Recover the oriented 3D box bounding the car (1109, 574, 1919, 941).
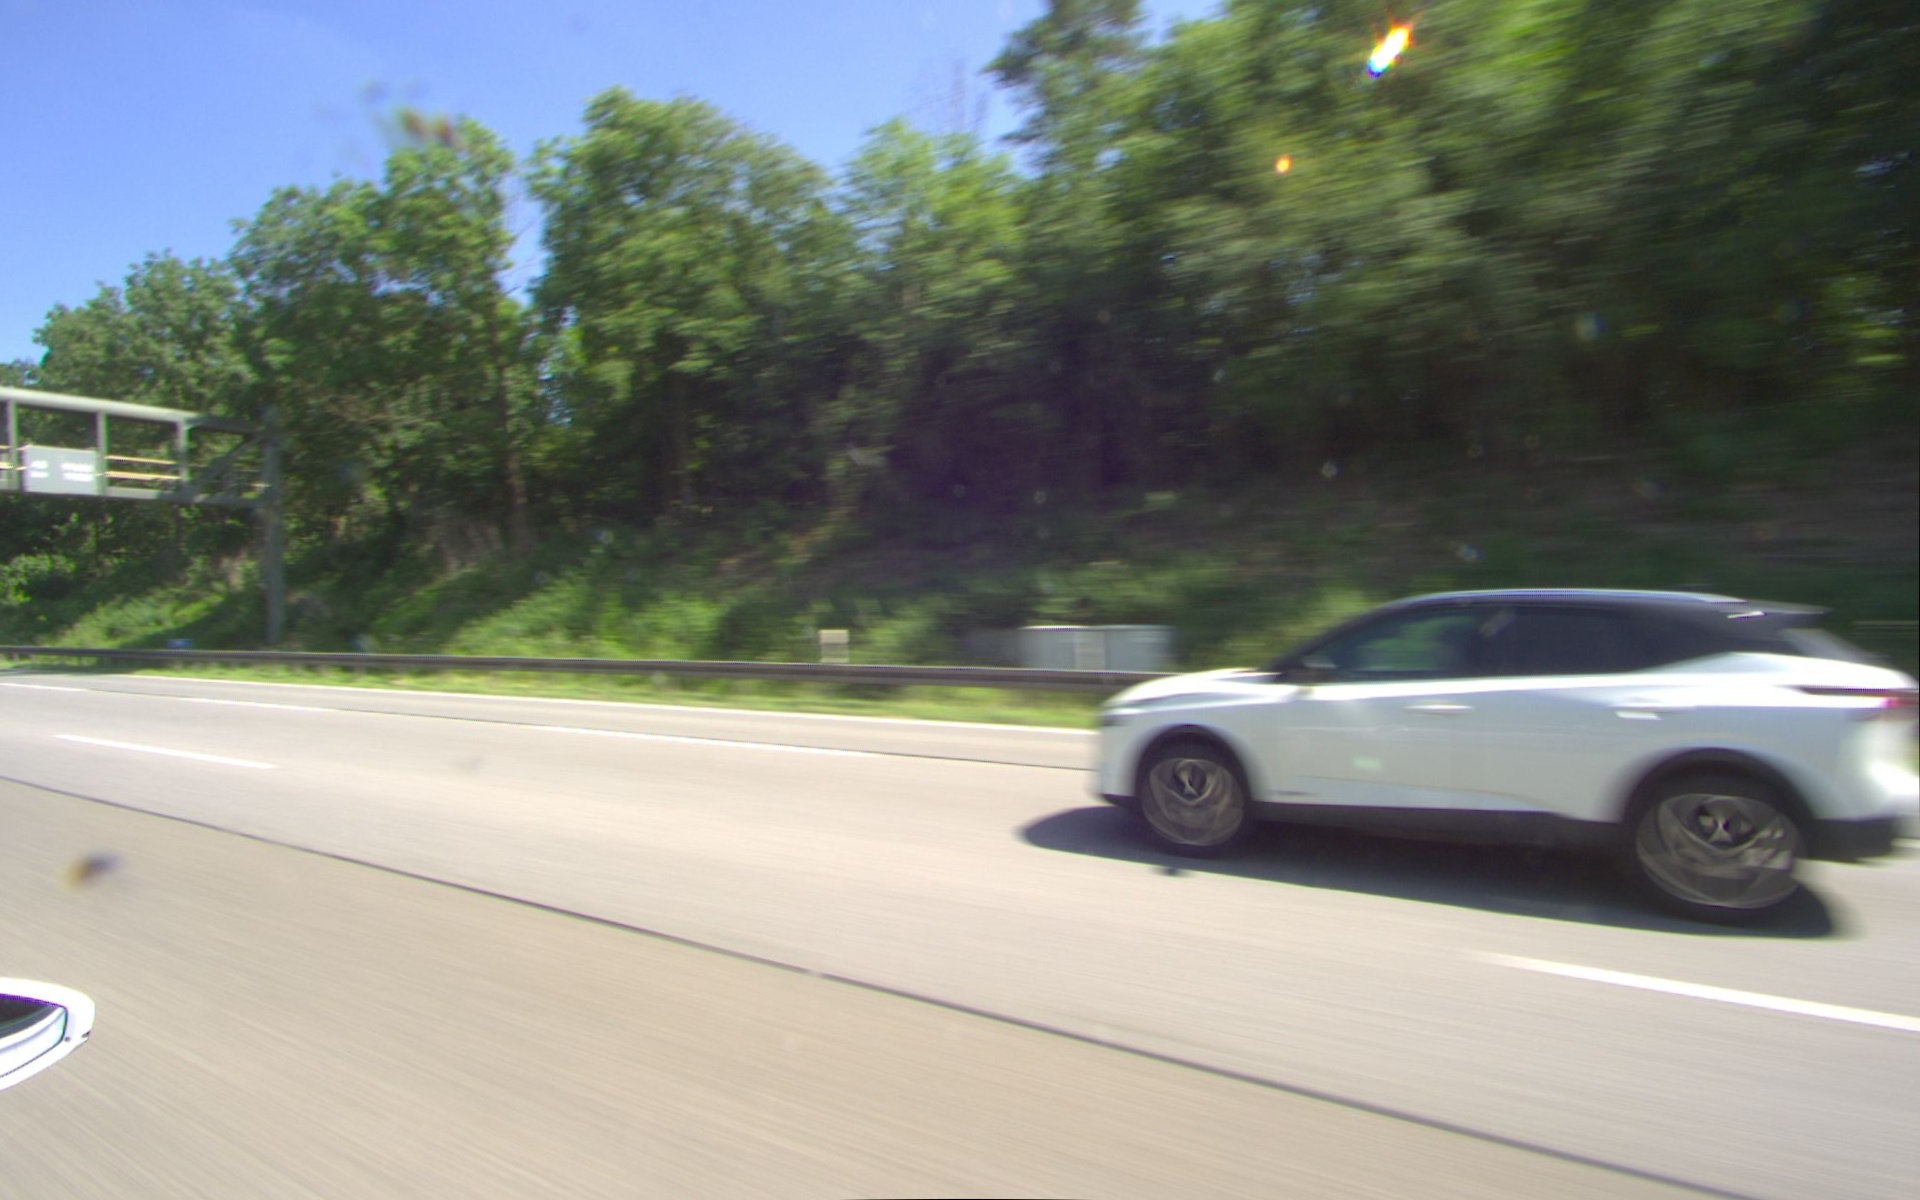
[{"bbox_3d":[3.113,0.728,6.131,3.978,1.588,1.840,-1,-1,33],"label":"car"}]
